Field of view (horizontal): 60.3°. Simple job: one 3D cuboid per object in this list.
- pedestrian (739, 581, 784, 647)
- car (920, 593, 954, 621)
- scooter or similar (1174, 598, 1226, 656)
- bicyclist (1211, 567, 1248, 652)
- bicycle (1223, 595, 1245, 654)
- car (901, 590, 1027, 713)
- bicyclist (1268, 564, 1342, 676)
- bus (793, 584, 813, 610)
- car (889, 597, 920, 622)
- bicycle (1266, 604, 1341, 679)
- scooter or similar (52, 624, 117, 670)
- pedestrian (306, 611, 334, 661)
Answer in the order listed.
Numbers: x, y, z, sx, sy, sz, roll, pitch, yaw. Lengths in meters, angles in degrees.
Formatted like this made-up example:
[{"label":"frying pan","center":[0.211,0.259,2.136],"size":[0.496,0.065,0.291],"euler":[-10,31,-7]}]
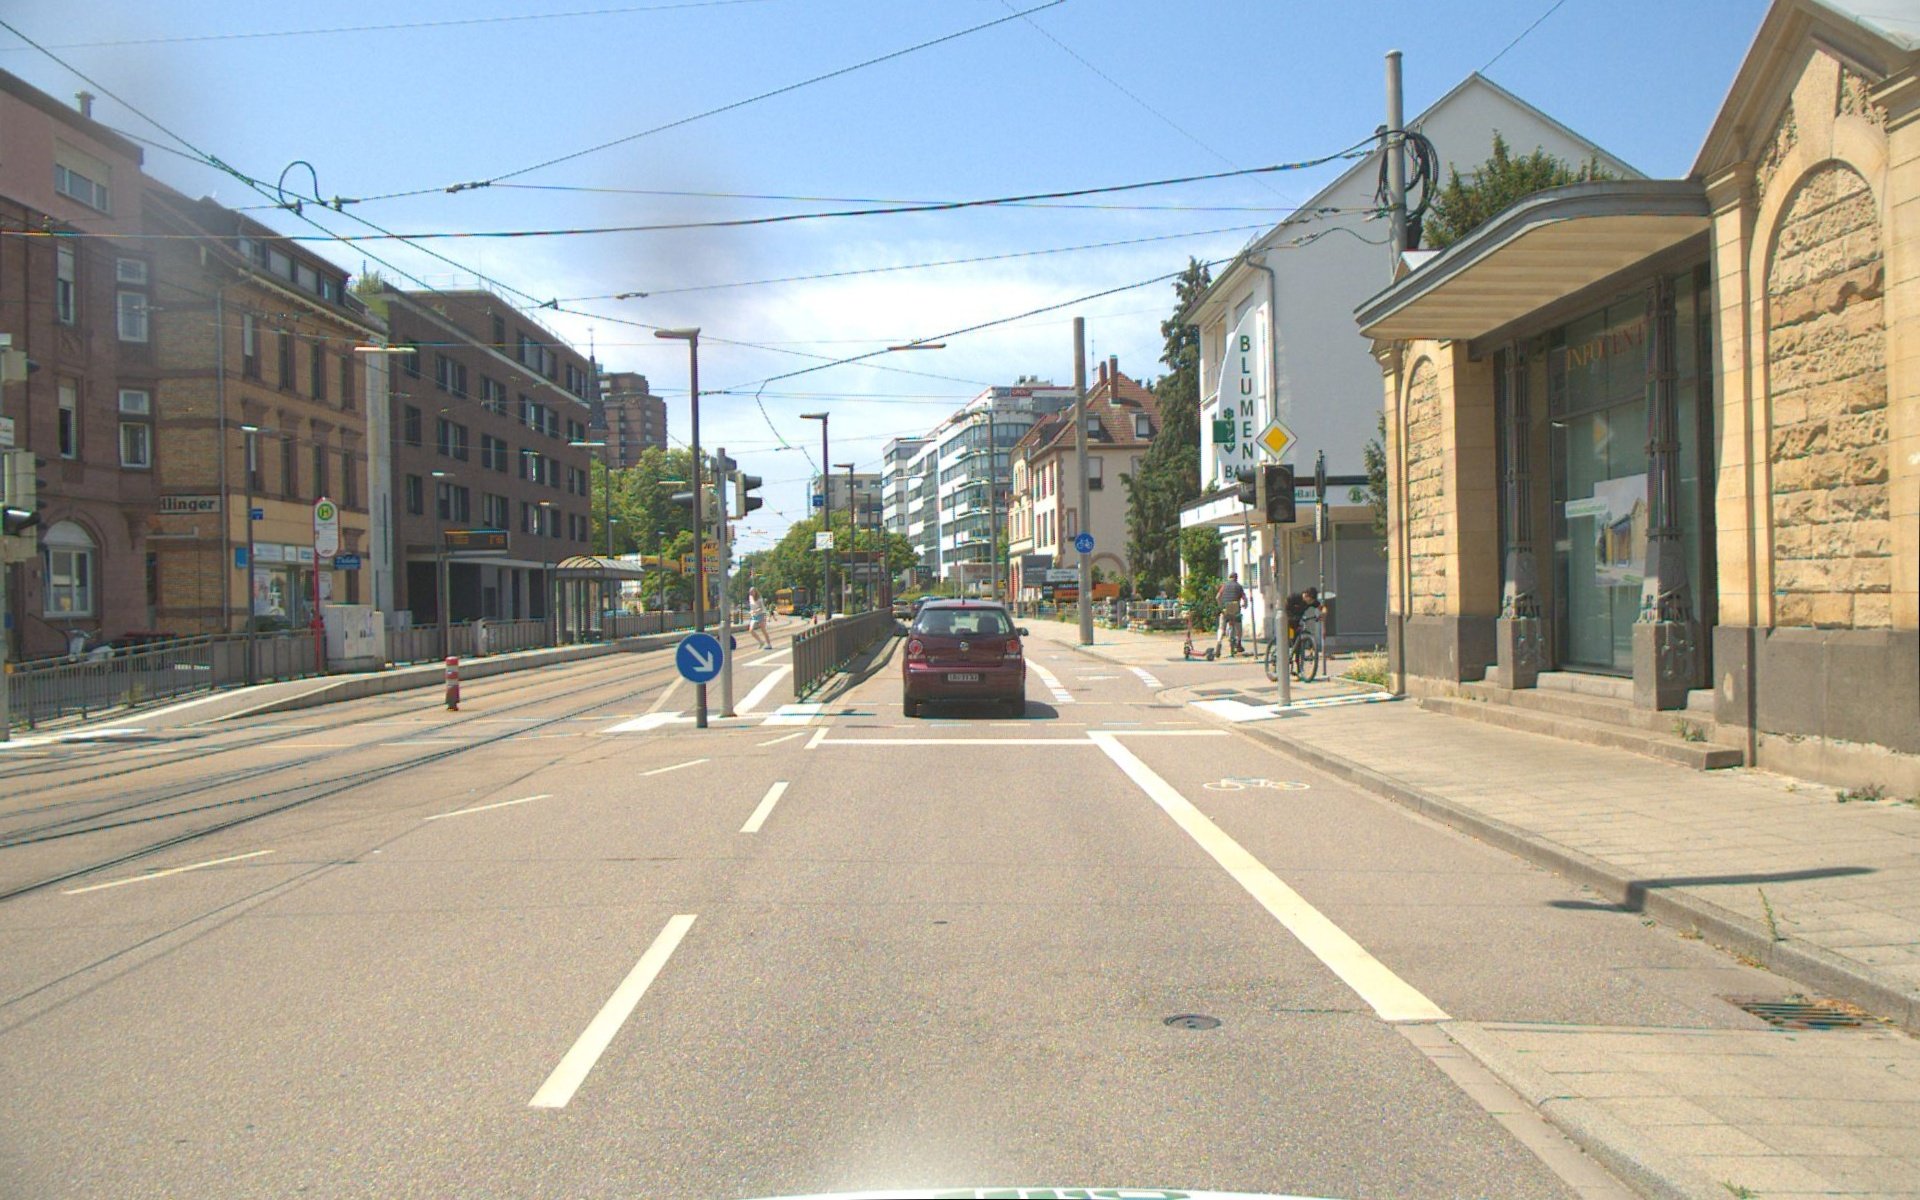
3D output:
[{"label":"pedestrian","center":[-5.266,0.360,43.875],"size":[1.078,1.704,0.762],"euler":[-1,0,-15]},{"label":"car","center":[-1.431,0.432,101.357],"size":[1.954,1.653,4.629],"euler":[-2,0,-2]},{"label":"scooter or similar","center":[5.062,0.565,34.927],"size":[0.335,1.198,1.456],"euler":[-1,0,-24]},{"label":"bicyclist","center":[5.860,0.202,35.915],"size":[0.712,1.791,0.925],"euler":[-2,0,11]},{"label":"bicycle","center":[5.946,0.512,35.848],"size":[0.367,1.218,1.907],"euler":[-2,0,11]},{"label":"car","center":[0.001,0.648,22.146],"size":[1.530,1.479,3.060],"euler":[-2,0,-2]},{"label":"bicyclist","center":[5.356,0.298,25.725],"size":[0.816,1.645,0.860],"euler":[-6,1,-1]},{"label":"bus","center":[-18.946,-0.306,199.413],"size":[2.104,3.055,6.562],"euler":[-2,0,-7]},{"label":"car","center":[-4.334,0.718,129.597],"size":[1.956,1.881,3.992],"euler":[-2,0,-8]},{"label":"bicycle","center":[5.299,0.626,25.624],"size":[0.655,1.019,1.863],"euler":[-6,1,-1]},{"label":"scooter or similar","center":[-22.181,1.182,41.938],"size":[0.477,1.101,1.578],"euler":[-2,0,15]},{"label":"pedestrian","center":[-20.575,1.155,53.192],"size":[0.602,1.588,0.640],"euler":[-2,0,-2]}]
